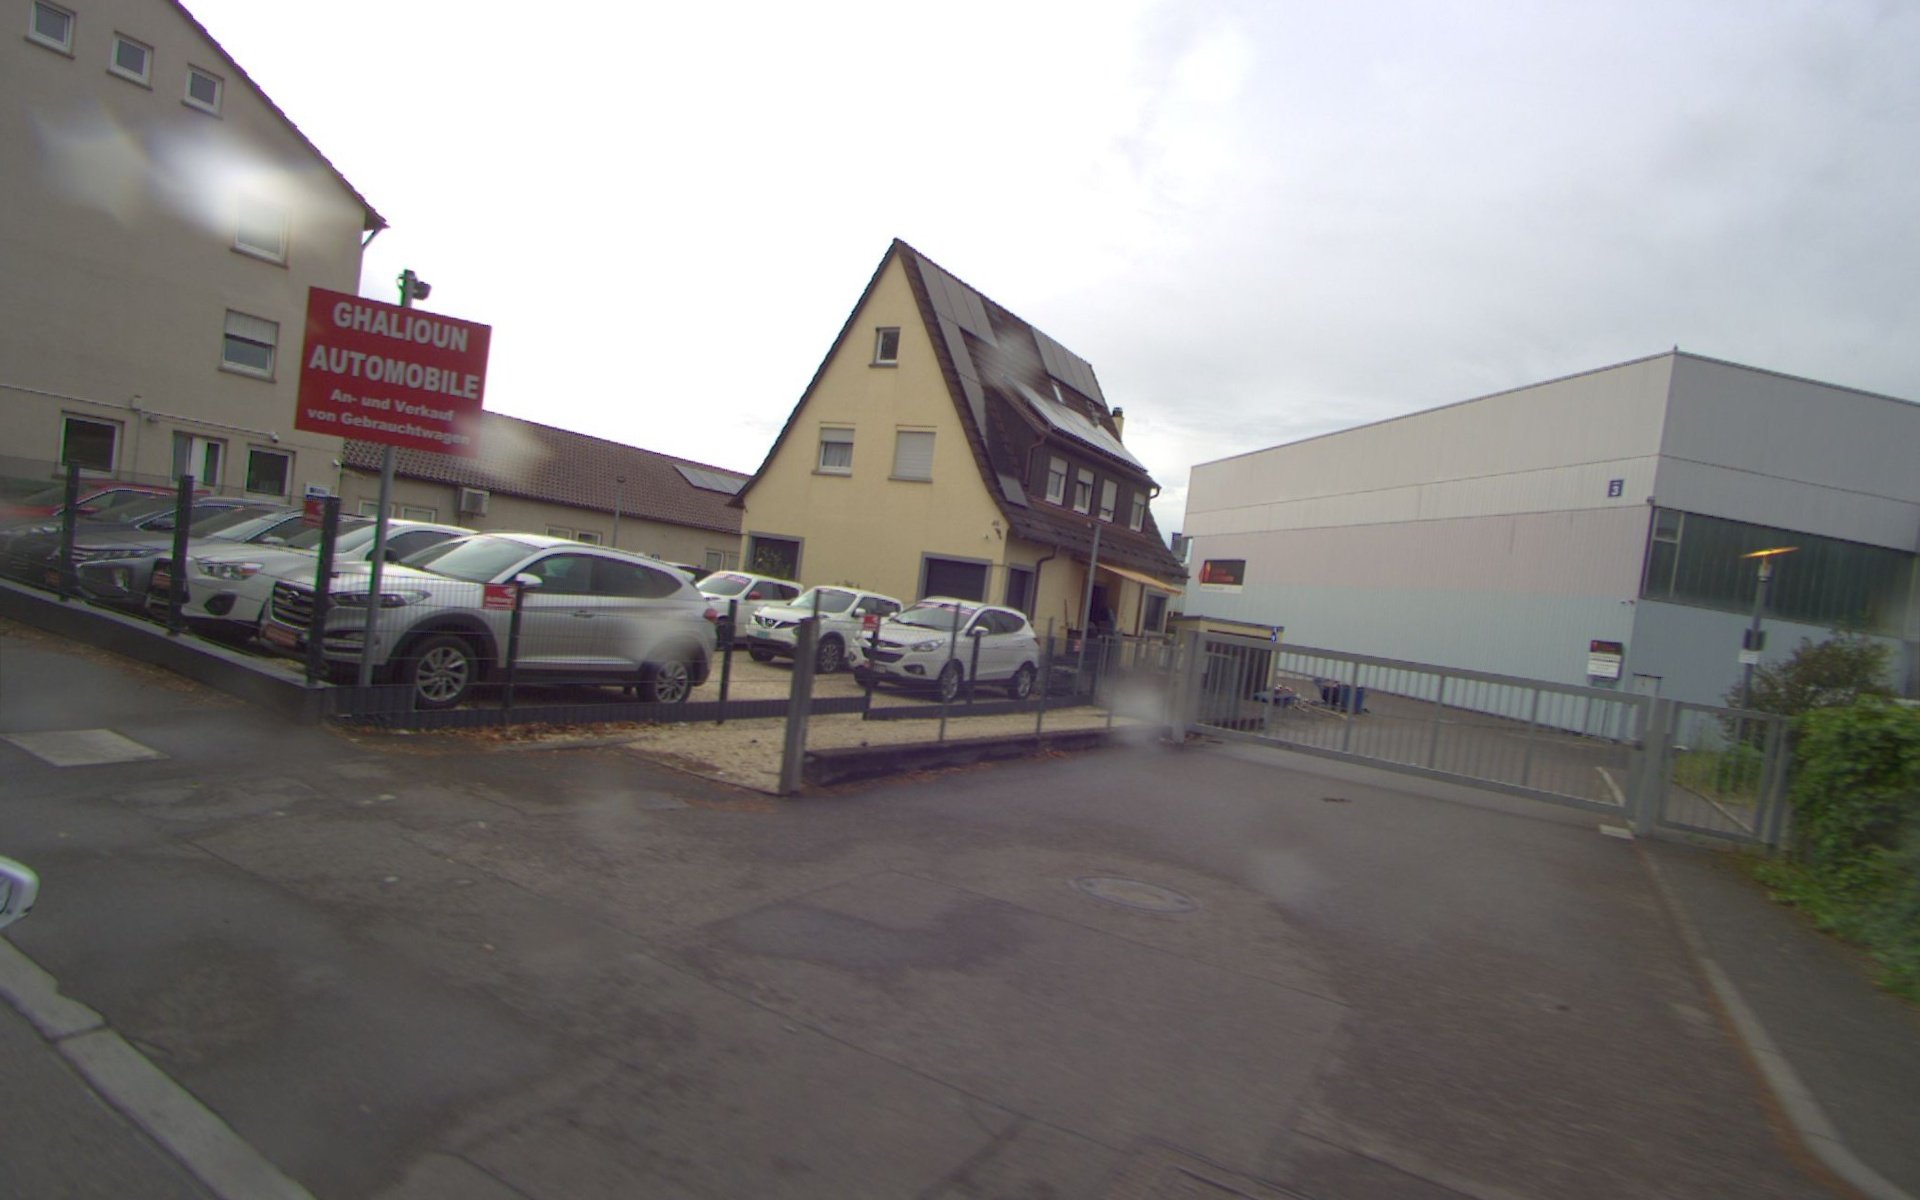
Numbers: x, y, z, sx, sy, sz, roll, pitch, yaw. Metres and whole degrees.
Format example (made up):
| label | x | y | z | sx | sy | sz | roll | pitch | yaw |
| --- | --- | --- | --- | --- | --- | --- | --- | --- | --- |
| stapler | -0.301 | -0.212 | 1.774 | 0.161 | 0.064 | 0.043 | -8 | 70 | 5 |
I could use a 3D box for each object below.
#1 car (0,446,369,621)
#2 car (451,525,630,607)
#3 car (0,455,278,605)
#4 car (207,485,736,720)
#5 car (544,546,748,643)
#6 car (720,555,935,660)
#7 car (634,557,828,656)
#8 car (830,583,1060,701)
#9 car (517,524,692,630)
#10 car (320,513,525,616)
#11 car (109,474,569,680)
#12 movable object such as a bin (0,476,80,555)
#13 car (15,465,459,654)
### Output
| label | x | y | z | sx | sy | sz | roll | pitch | yaw |
| --- | --- | --- | --- | --- | --- | --- | --- | --- | --- |
| car | -11.127 | -0.825 | 14.271 | 1.839 | 1.756 | 4.237 | 6 | -2 | 31 |
| car | -11.268 | -0.879 | 27.142 | 3.974 | 1.611 | 1.801 | 9 | -3 | -41 |
| car | -13.507 | -1.081 | 15.709 | 1.839 | 1.756 | 4.237 | 6 | -2 | 31 |
| car | -4.590 | 0.159 | 10.173 | 1.967 | 1.789 | 4.310 | 6 | -2 | 31 |
| car | -6.861 | -0.061 | 22.418 | 1.764 | 1.618 | 4.094 | 6 | -2 | 30 |
| car | -2.423 | 0.209 | 19.367 | 1.966 | 1.485 | 3.996 | 6 | -2 | 30 |
| car | -4.609 | 0.191 | 20.764 | 1.728 | 1.550 | 3.774 | 7 | -2 | 28 |
| car | -0.101 | 0.818 | 17.808 | 1.839 | 1.646 | 4.510 | 7 | -1 | 31 |
| car | -8.495 | -0.487 | 24.338 | 1.695 | 2.037 | 3.588 | 6 | -2 | 29 |
| car | -10.472 | -0.697 | 19.578 | 3.567 | 1.548 | 1.812 | 6 | -2 | 31 |
| car | -6.782 | -0.141 | 11.446 | 1.761 | 1.744 | 3.957 | 7 | -2 | 31 |
| movable object such as a bin | -19.445 | -1.772 | 21.161 | 0.993 | 1.529 | 1.111 | 6 | 2 | 31 |
| car | -8.917 | -0.401 | 12.796 | 1.839 | 1.756 | 4.075 | 6 | -2 | 31 |
